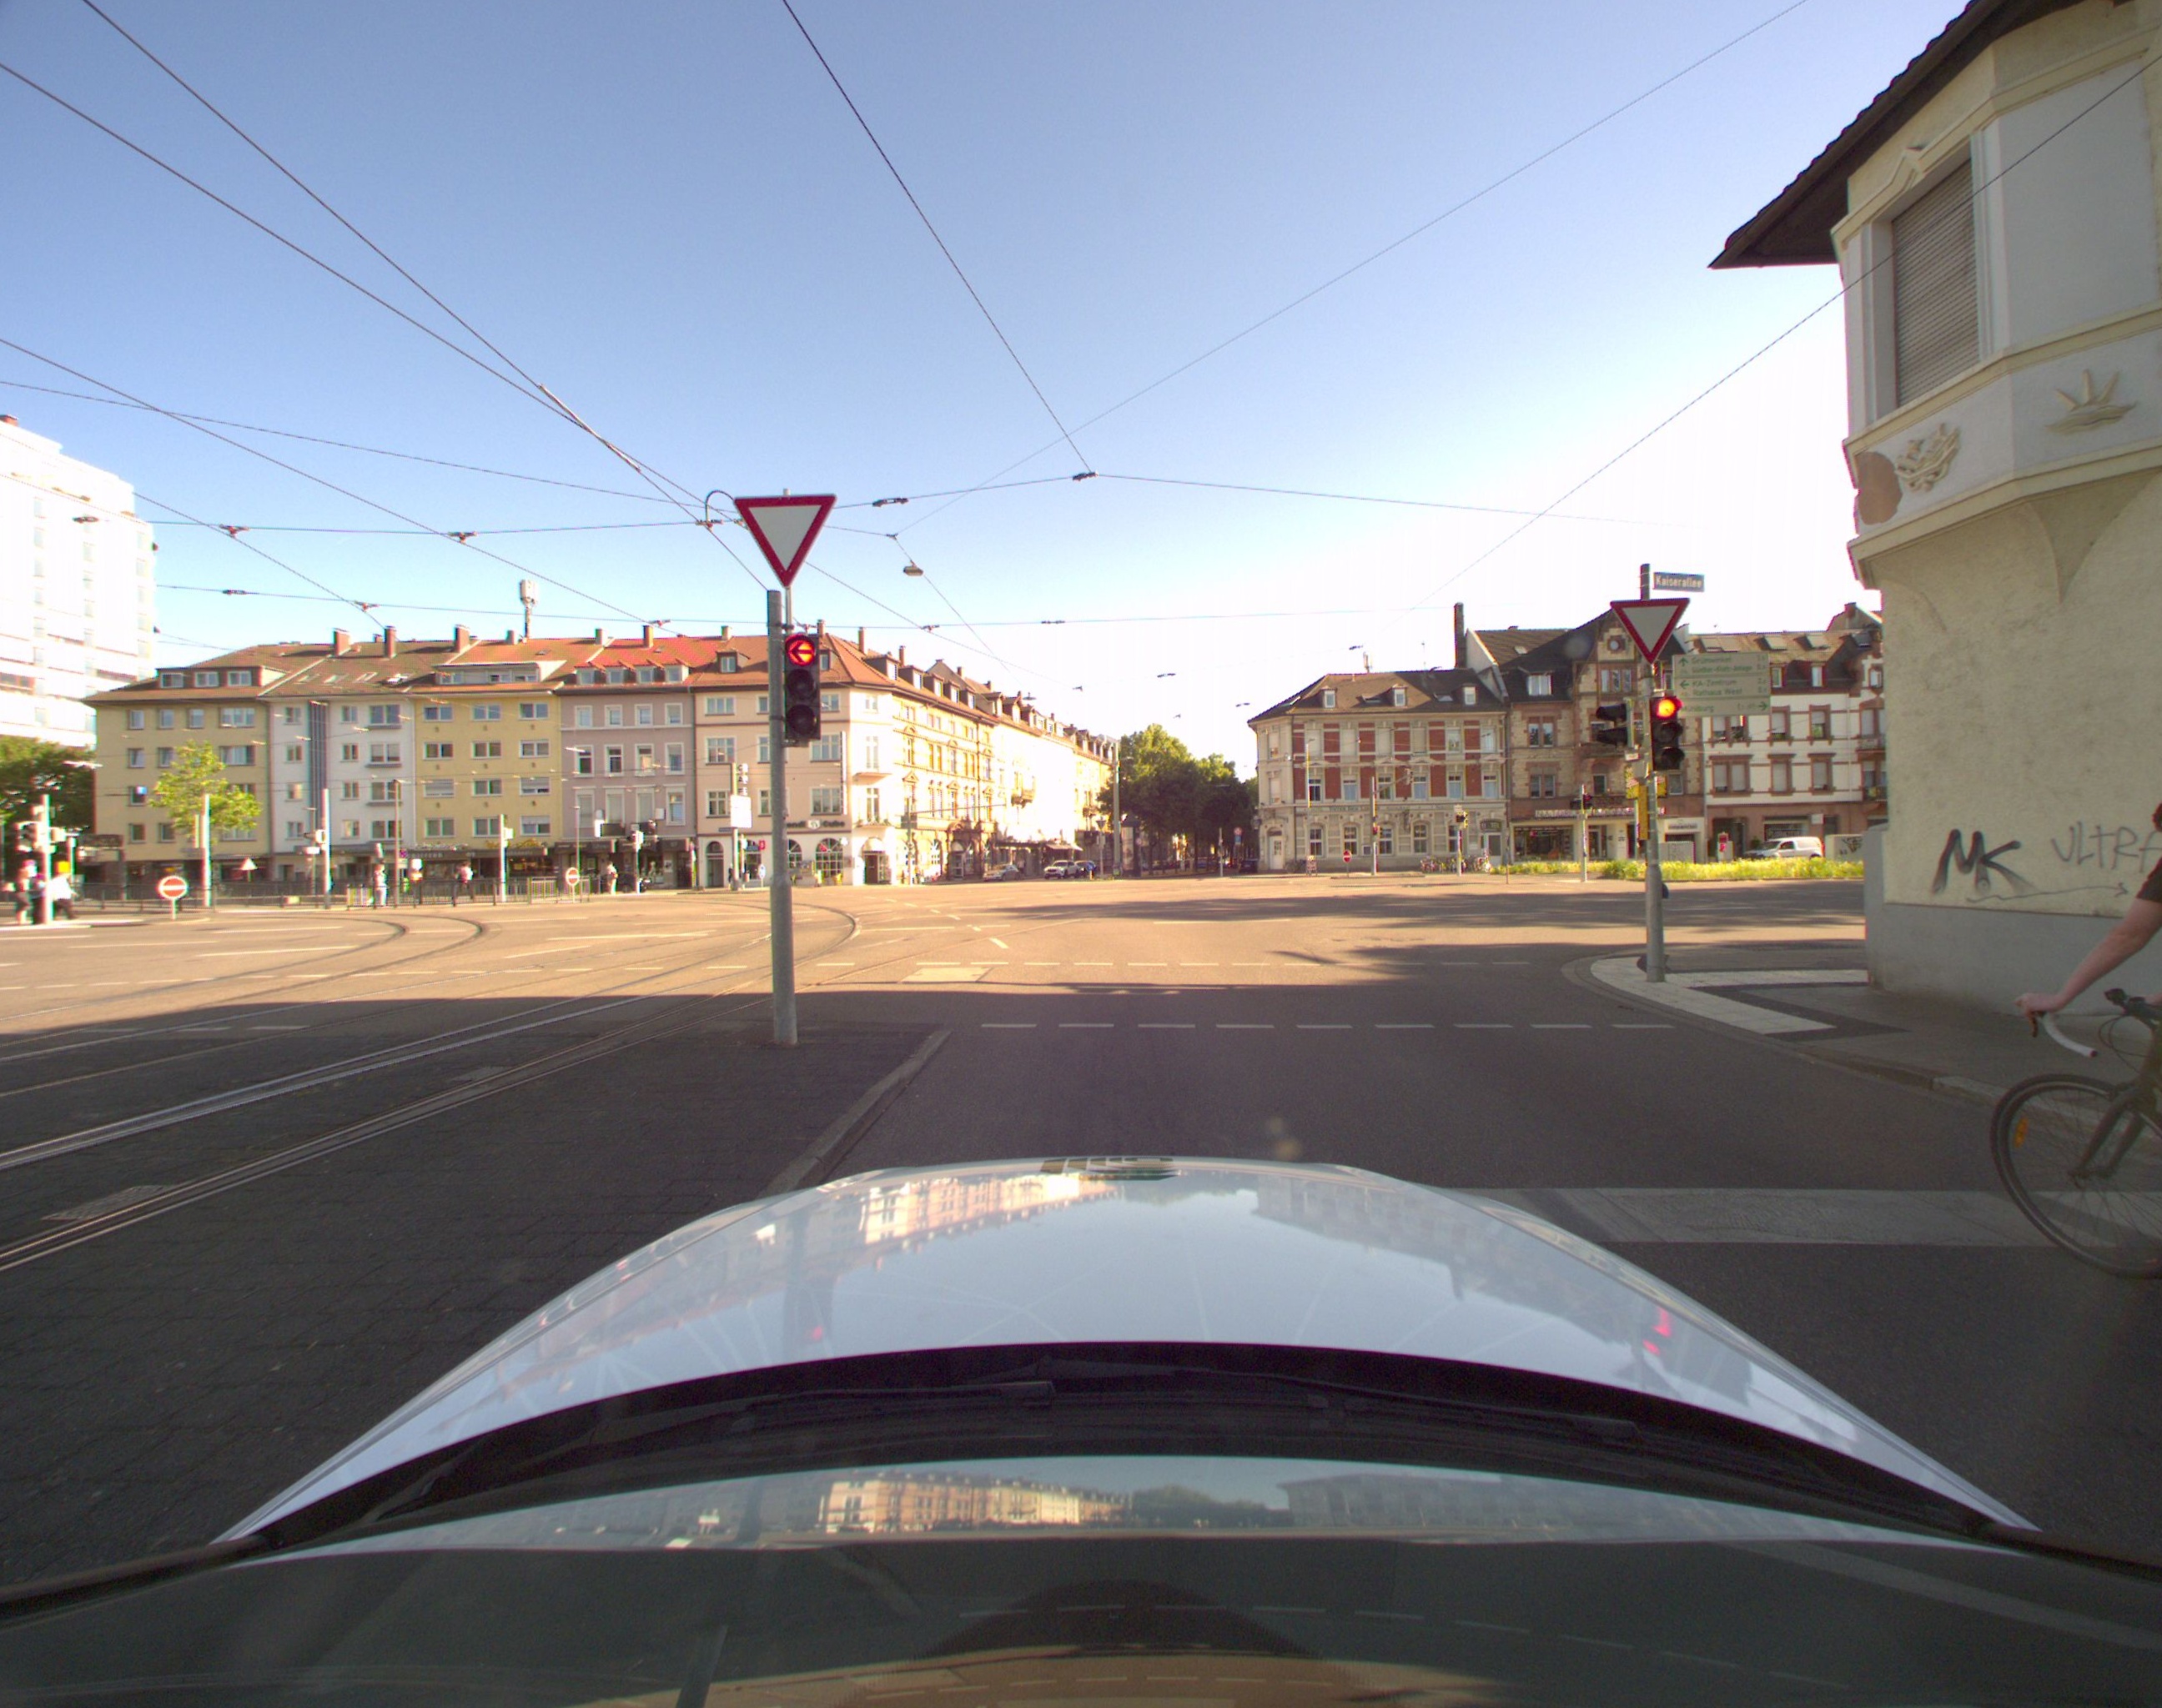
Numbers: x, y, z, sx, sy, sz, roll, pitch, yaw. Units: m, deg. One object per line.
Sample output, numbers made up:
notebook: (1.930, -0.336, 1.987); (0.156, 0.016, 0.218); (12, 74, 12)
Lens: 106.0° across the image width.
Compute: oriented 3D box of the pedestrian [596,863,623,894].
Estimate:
pedestrian: (-24.618, 1.284, 42.543); (0.842, 1.577, 0.836); (-1, -1, 11)

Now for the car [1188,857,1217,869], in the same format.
car: (17.216, 1.245, 115.451); (3.870, 1.648, 1.691); (-2, 0, 19)

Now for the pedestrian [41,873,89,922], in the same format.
pedestrian: (-33.850, 1.424, 27.131); (0.657, 1.577, 0.889); (-1, -1, 29)

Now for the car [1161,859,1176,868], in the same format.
car: (14.047, 1.489, 130.605); (1.664, 1.354, 3.608); (-2, 0, 19)

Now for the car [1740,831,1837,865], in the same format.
car: (45.449, -0.389, 52.395); (4.406, 2.013, 2.002); (-1, 0, 4)

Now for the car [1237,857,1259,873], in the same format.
car: (16.913, 1.088, 82.330); (1.664, 1.483, 3.967); (-2, 0, 19)

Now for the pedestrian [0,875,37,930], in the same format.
pedestrian: (-32.915, 1.499, 25.240); (0.456, 1.644, 0.643); (-1, 1, 38)

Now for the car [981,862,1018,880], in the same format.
car: (-6.701, 1.419, 67.224); (1.664, 1.354, 3.608); (-2, 0, 19)

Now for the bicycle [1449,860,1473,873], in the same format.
bicycle: (24.575, 0.803, 52.743); (0.656, 0.840, 2.162); (0, -1, 3)

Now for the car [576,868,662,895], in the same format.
car: (-30.358, 1.786, 53.637); (4.347, 1.711, 2.308); (0, -1, 4)

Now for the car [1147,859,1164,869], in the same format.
car: (11.255, 1.491, 122.360); (1.664, 1.354, 3.608); (-2, 0, 19)

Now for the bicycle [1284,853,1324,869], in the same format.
bicycle: (15.611, 0.494, 57.055); (2.547, 1.174, 0.818); (0, -1, -1)

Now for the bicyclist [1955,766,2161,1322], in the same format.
bicyclist: (3.578, 0.577, 2.497); (0.570, 1.701, 1.117); (-1, 0, 2)

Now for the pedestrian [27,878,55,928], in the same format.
pedestrian: (-31.910, 1.498, 24.991); (0.456, 1.505, 0.485); (-1, 1, 38)

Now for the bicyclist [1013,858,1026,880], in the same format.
bicyclist: (-4.933, 1.203, 65.412); (0.772, 1.803, 1.060); (-1, -1, 16)

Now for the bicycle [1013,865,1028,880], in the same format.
bicycle: (-4.886, 1.478, 65.532); (0.696, 1.118, 1.642); (-1, -1, 16)

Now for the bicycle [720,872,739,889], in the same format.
bicycle: (-22.814, 1.712, 52.903); (0.570, 1.077, 1.497); (0, -1, 2)

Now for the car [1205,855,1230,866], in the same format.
car: (21.462, 1.046, 127.716); (3.549, 1.648, 1.691); (-2, 0, 19)

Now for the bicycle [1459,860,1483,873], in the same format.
bicycle: (25.212, 0.798, 52.698); (0.656, 0.840, 2.162); (0, -1, 3)

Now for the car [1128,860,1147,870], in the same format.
car: (7.710, 1.478, 111.320); (1.664, 1.354, 3.608); (-2, 0, 19)

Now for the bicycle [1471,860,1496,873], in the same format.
bicycle: (26.015, 0.792, 52.712); (0.656, 0.840, 2.162); (0, -1, 3)

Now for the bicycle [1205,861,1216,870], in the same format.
bicycle: (15.780, 1.381, 99.276); (0.636, 1.021, 1.839); (0, -1, -12)

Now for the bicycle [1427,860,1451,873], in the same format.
bicycle: (23.168, 0.814, 52.751); (0.656, 0.840, 2.162); (0, -1, 3)

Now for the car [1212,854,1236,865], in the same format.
car: (23.368, 0.952, 133.150); (3.549, 1.648, 1.691); (-2, 0, 19)

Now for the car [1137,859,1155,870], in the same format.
car: (9.185, 1.481, 115.443); (1.664, 1.354, 3.608); (-2, 0, 19)

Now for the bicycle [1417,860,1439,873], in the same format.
bicycle: (22.432, 0.819, 52.692); (0.656, 0.840, 2.162); (0, -1, 3)

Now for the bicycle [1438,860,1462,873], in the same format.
bicycle: (23.892, 0.808, 52.736); (0.656, 0.840, 2.162); (0, -1, 3)

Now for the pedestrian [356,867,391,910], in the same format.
pedestrian: (-26.225, 1.262, 30.202); (0.545, 1.577, 0.838); (-1, -1, 29)

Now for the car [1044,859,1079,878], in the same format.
car: (-1.597, 1.208, 67.507); (1.664, 1.483, 3.789); (-2, 0, 19)

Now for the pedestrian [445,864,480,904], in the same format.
pedestrian: (-24.936, 1.206, 32.830); (0.720, 1.577, 0.836); (-1, -1, 11)

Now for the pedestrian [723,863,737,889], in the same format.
pedestrian: (-22.815, 1.418, 52.984); (0.580, 1.670, 0.753); (0, -1, 2)

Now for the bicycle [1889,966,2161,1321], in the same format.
bicycle: (3.603, 0.958, 2.506); (0.516, 0.970, 1.750); (-1, 0, 2)

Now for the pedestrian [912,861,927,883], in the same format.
pedestrian: (-12.074, 1.327, 60.752); (0.770, 1.670, 0.834); (-1, -1, 17)

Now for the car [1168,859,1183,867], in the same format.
car: (15.734, 1.507, 135.598); (1.664, 1.354, 3.608); (-2, 0, 19)

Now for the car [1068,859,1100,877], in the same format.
car: (0.316, 1.234, 73.767); (1.664, 1.483, 3.967); (-2, 0, 19)
